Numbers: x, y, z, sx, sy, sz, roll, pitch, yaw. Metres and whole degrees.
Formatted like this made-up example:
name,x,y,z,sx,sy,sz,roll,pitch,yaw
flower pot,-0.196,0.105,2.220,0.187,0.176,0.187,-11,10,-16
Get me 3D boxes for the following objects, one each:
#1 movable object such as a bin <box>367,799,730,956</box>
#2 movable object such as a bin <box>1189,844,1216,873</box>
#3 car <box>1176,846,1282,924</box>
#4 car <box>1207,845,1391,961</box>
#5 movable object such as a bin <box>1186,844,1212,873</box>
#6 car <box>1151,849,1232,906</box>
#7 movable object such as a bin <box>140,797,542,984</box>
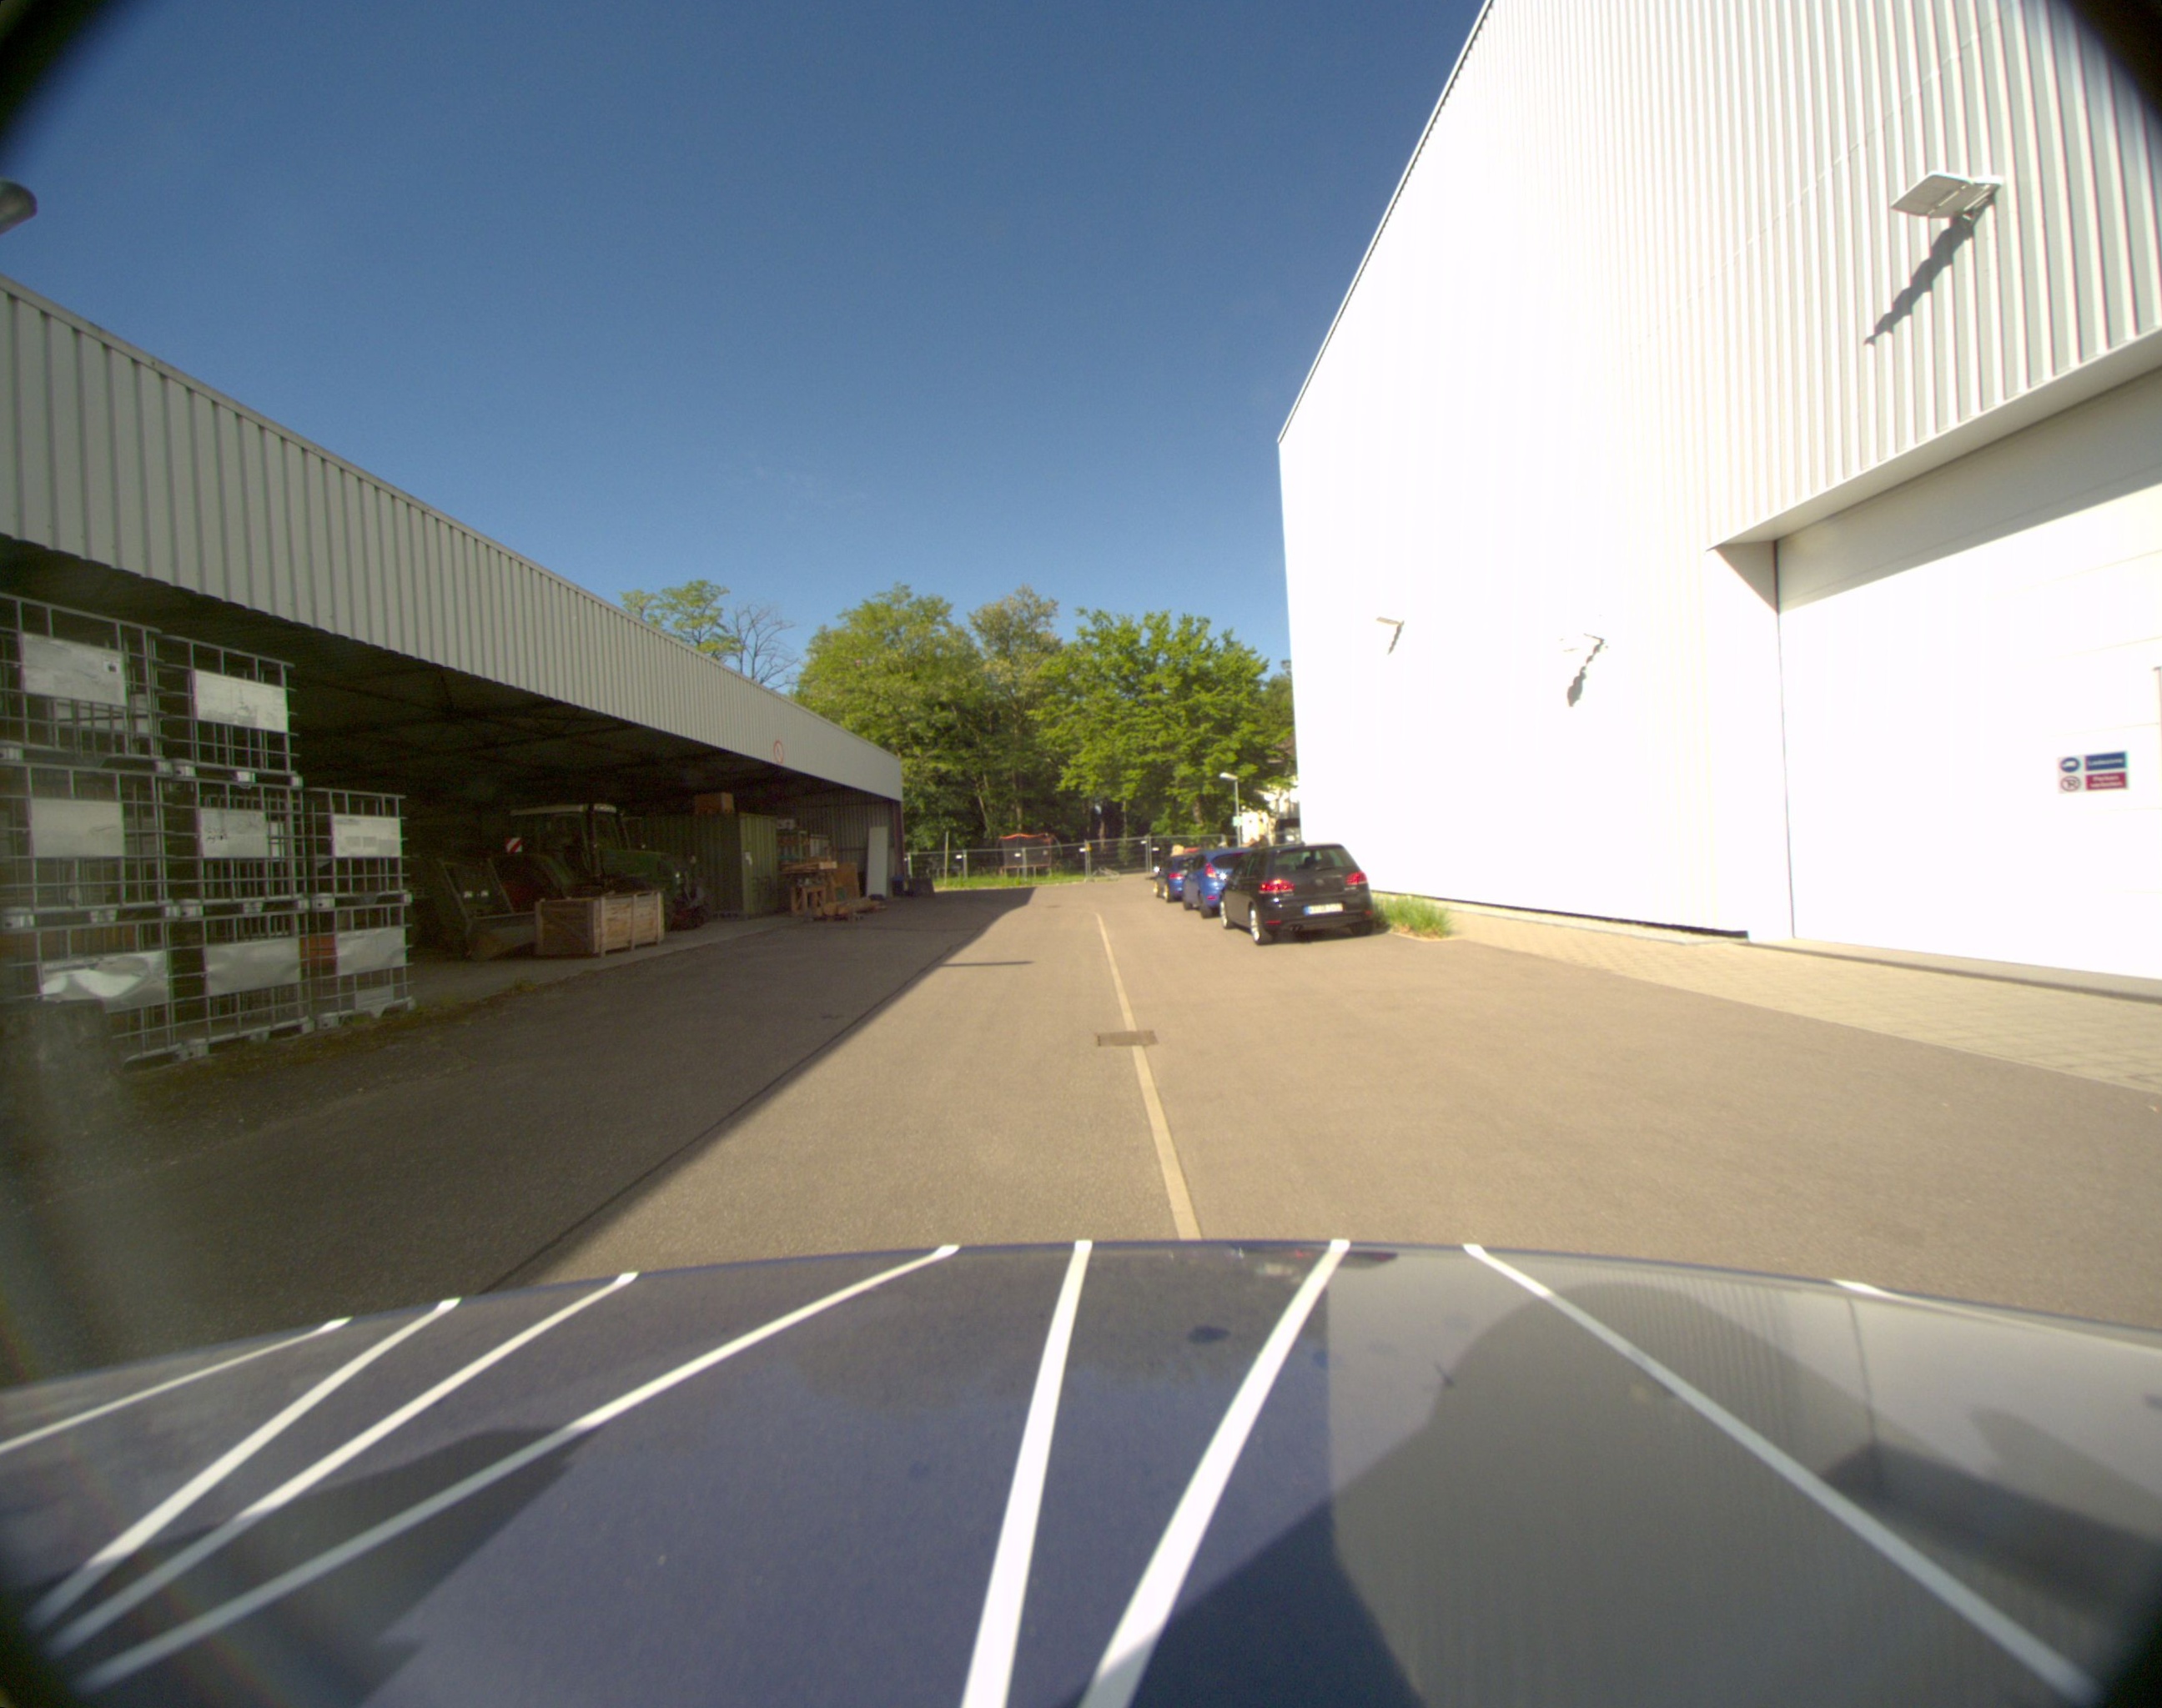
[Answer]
name,x,y,z,sx,sy,sz,roll,pitch,yaw
movable object such as a bin,-11.349,0.473,16.656,5.848,2.908,2.820,-2,0,1
movable object such as a bin,6.163,0.243,38.606,1.141,1.426,1.289,-1,0,1
car,3.259,0.652,17.358,1.552,1.480,3.522,-5,0,-1
car,3.383,0.686,12.692,1.761,1.437,4.315,-6,0,1
movable object such as a bin,6.185,0.240,39.970,1.141,1.469,1.280,-1,0,1
car,3.225,0.667,22.869,1.716,1.440,3.798,-5,0,-1
movable object such as a bin,-12.708,0.585,13.387,4.537,2.814,2.497,-2,0,1
